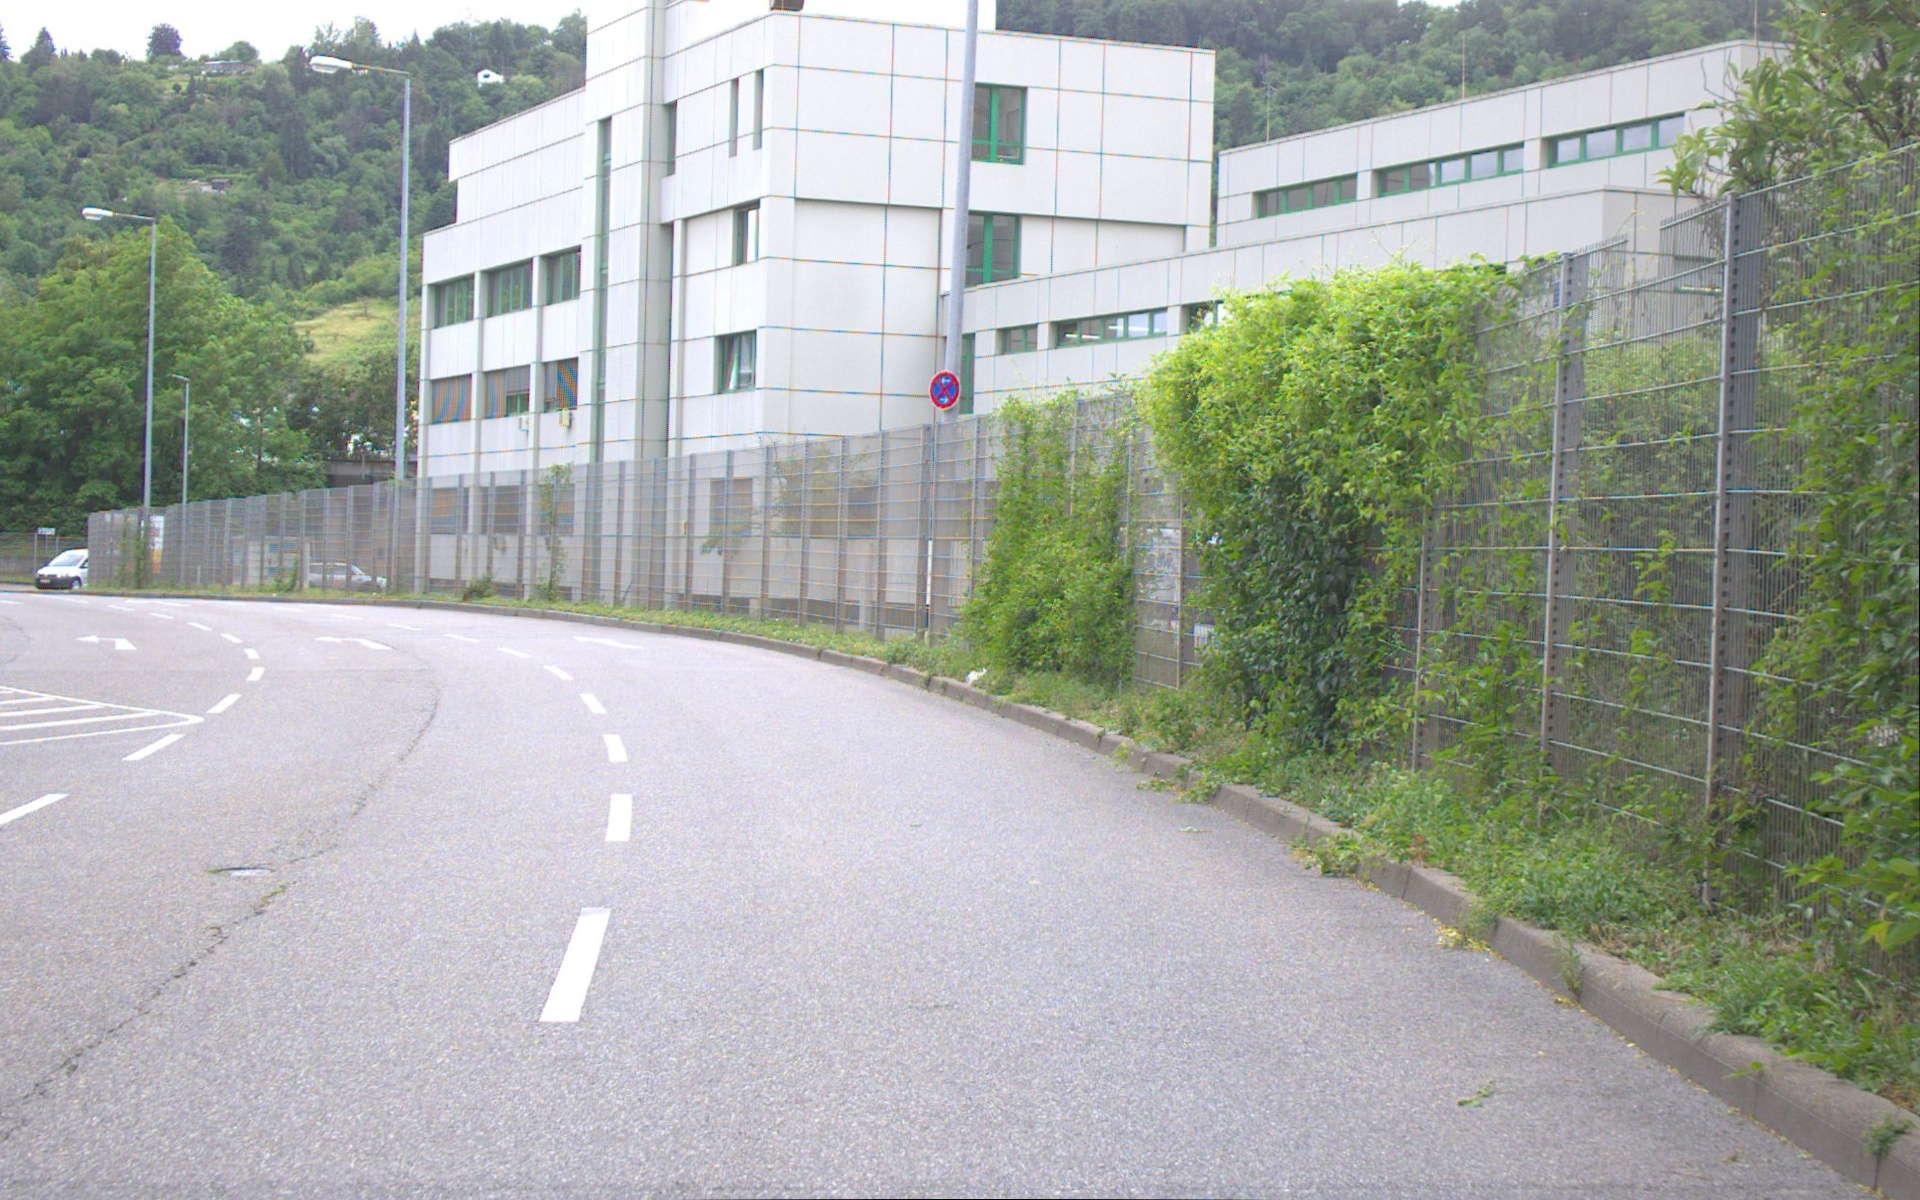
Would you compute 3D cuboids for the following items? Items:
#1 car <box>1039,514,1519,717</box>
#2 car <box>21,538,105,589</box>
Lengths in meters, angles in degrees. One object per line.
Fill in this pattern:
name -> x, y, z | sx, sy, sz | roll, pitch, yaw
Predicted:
car -> 3.850, 0.144, 42.700 | 1.994, 2.255, 6.167 | 2, 1, -41
car -> -36.931, -1.478, 141.604 | 1.994, 2.007, 4.130 | 2, 0, 5
